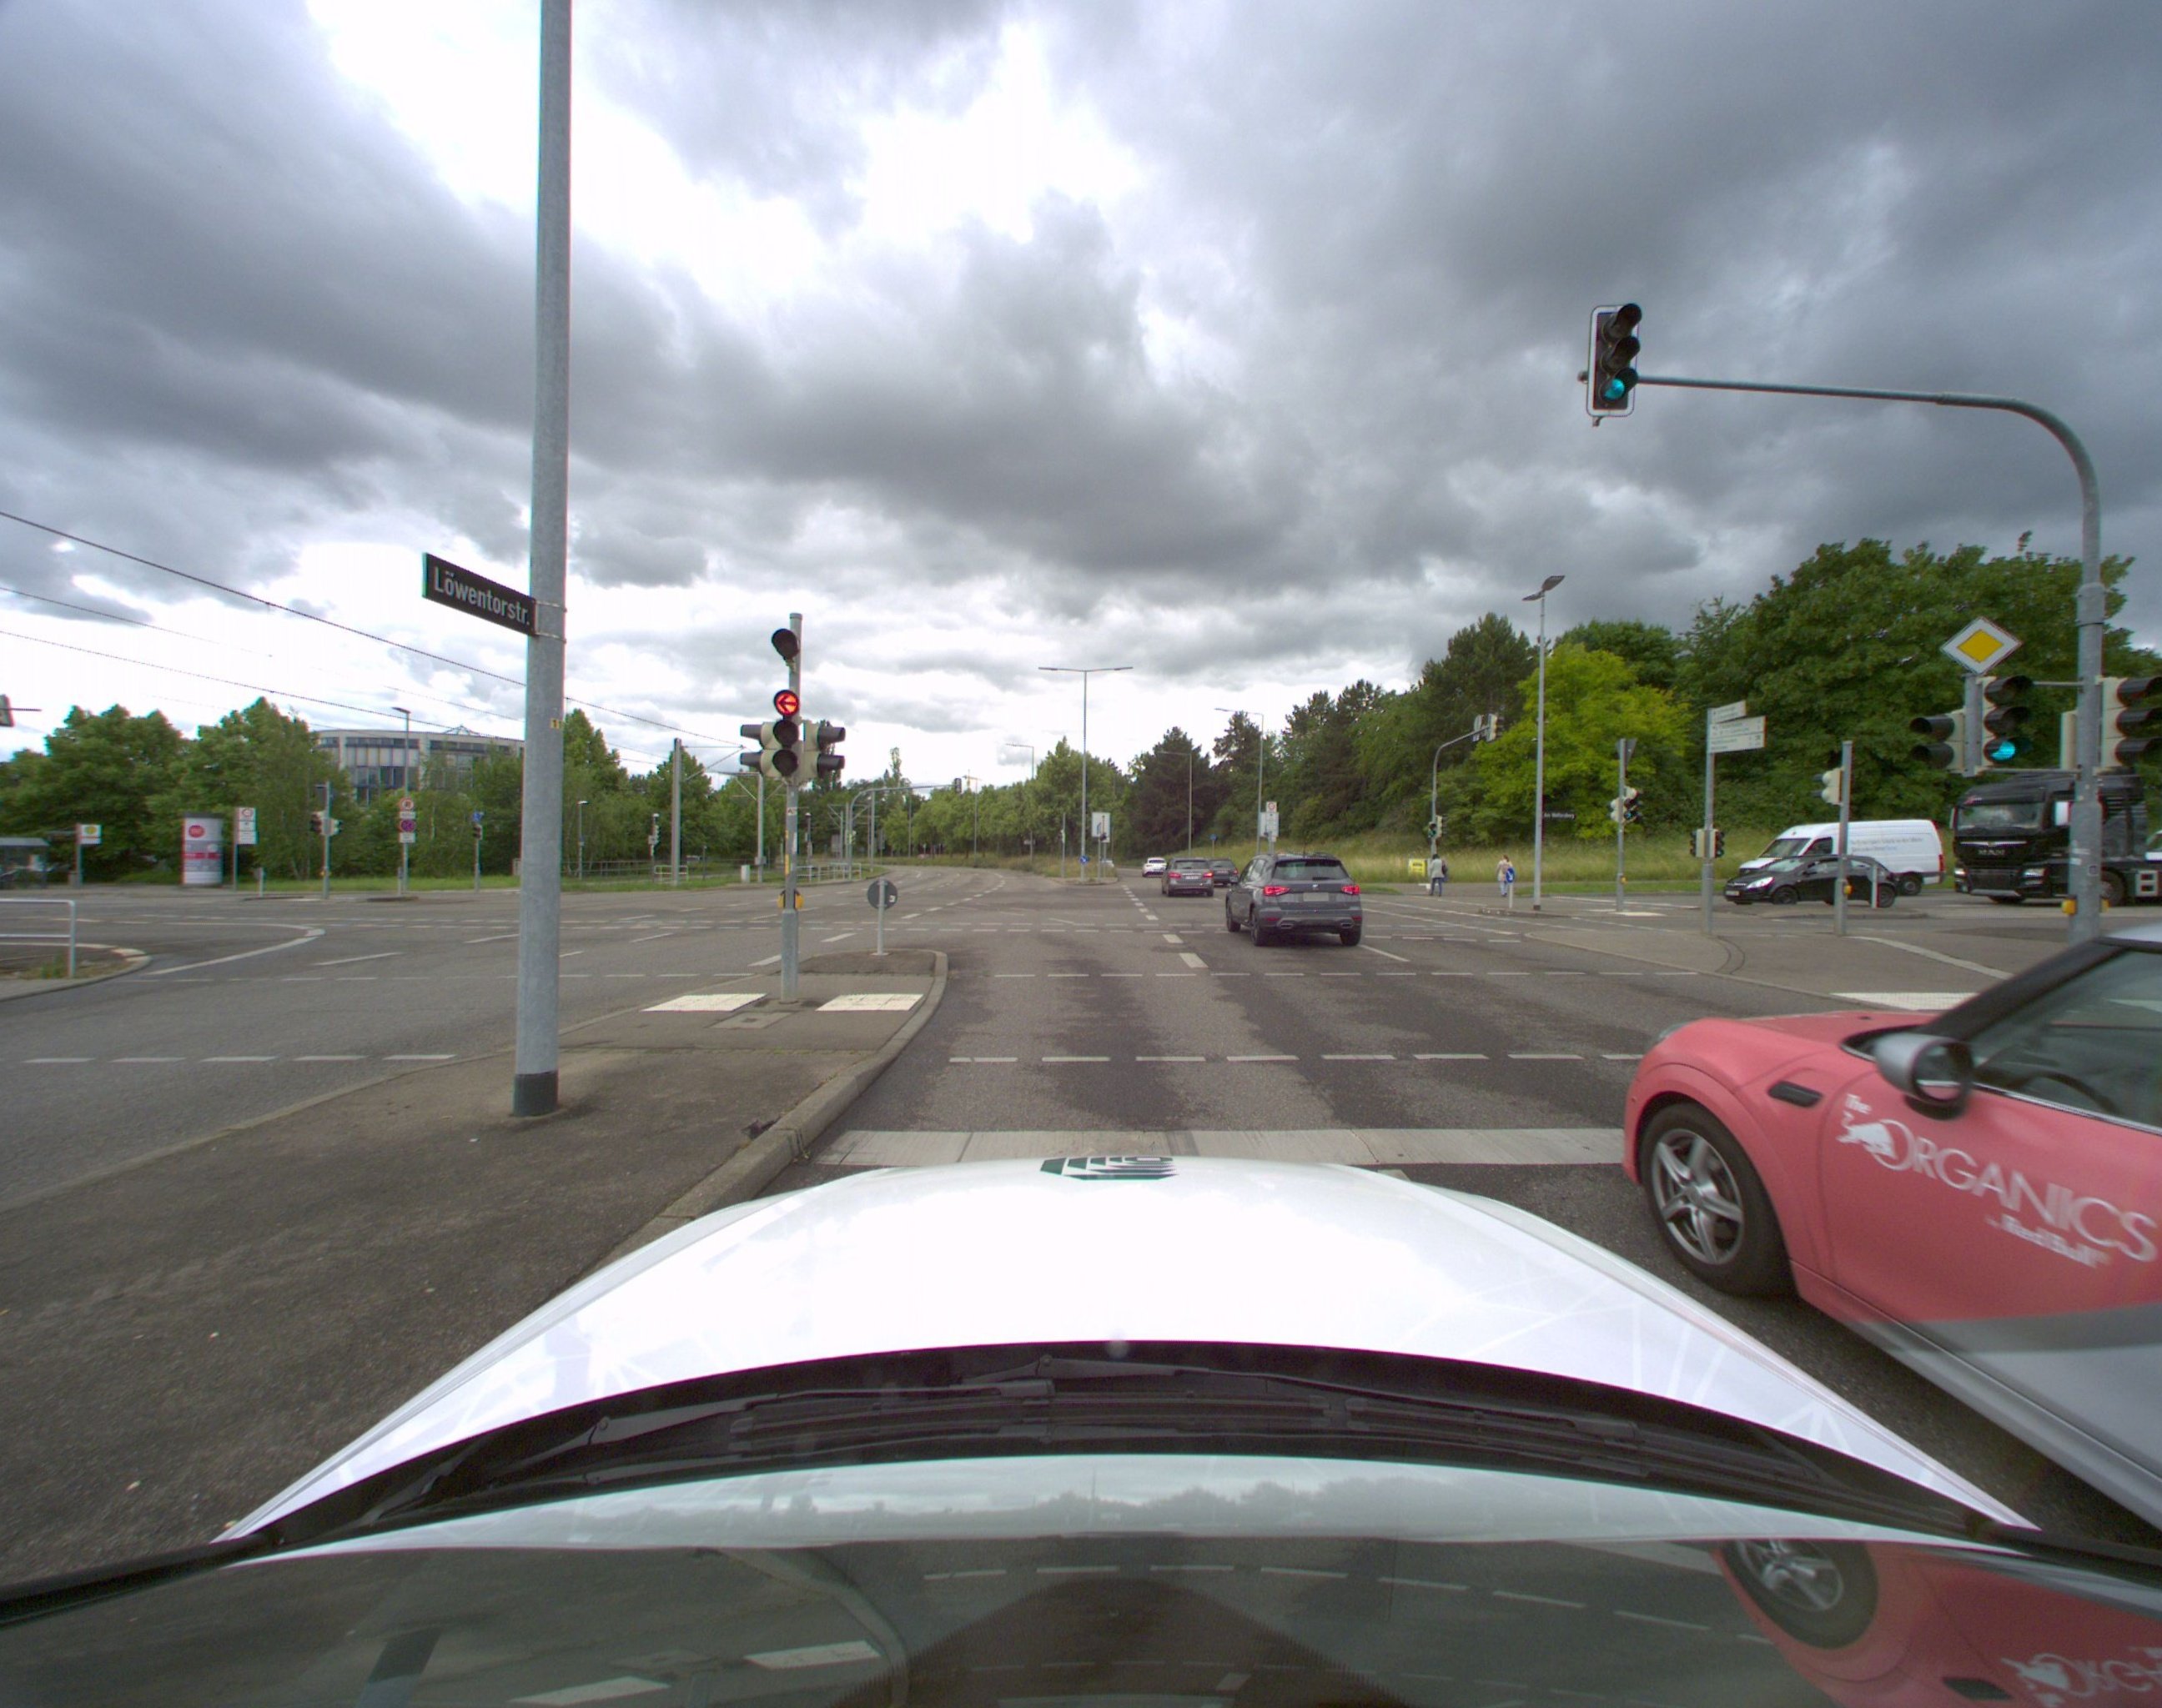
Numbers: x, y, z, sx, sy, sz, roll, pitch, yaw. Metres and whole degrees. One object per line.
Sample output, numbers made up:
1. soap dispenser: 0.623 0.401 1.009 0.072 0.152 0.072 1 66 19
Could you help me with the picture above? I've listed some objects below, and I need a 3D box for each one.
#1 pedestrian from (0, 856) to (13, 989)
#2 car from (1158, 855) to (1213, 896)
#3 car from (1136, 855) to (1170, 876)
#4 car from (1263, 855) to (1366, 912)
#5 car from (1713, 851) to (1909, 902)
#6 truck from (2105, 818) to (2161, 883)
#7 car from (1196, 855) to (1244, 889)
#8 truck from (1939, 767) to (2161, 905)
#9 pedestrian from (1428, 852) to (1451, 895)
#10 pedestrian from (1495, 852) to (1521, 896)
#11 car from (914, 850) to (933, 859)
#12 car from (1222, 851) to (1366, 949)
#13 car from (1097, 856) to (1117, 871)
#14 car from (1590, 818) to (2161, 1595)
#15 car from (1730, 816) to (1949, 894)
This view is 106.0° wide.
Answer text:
1. pedestrian: -12.803 0.794 9.150 0.632 1.536 0.719 0 -1 -2
2. car: 4.090 0.803 32.268 1.740 1.508 4.049 0 0 1
3. car: 5.282 0.840 59.958 1.840 1.506 4.525 0 -1 -3
4. car: 6.360 0.751 22.666 1.740 1.382 4.292 0 0 2
5. car: 20.285 0.621 22.747 3.859 1.338 1.698 0 -1 4
6. truck: 40.024 -0.133 28.187 5.992 2.230 2.165 0 -1 5
7. car: 6.792 0.845 40.056 1.740 1.485 4.358 0 1 2
8. truck: 27.951 -0.483 22.206 5.971 3.486 2.694 -1 -1 4
9. pedestrian: 13.856 0.743 31.525 0.640 1.662 0.715 0 -1 8
10. pedestrian: 15.896 0.726 30.355 0.640 1.612 0.715 0 -1 7
11. car: -28.594 0.148 147.841 1.798 1.603 3.843 0 -1 -37
12. car: 3.613 0.704 14.463 1.618 1.493 3.838 0 0 1
13. car: 2.666 0.952 84.164 1.591 1.516 2.759 0 -1 -8
14. car: 2.996 0.676 1.623 1.815 1.506 3.495 0 0 0
15. car: 26.933 0.046 29.086 5.780 2.630 2.002 0 -1 3
